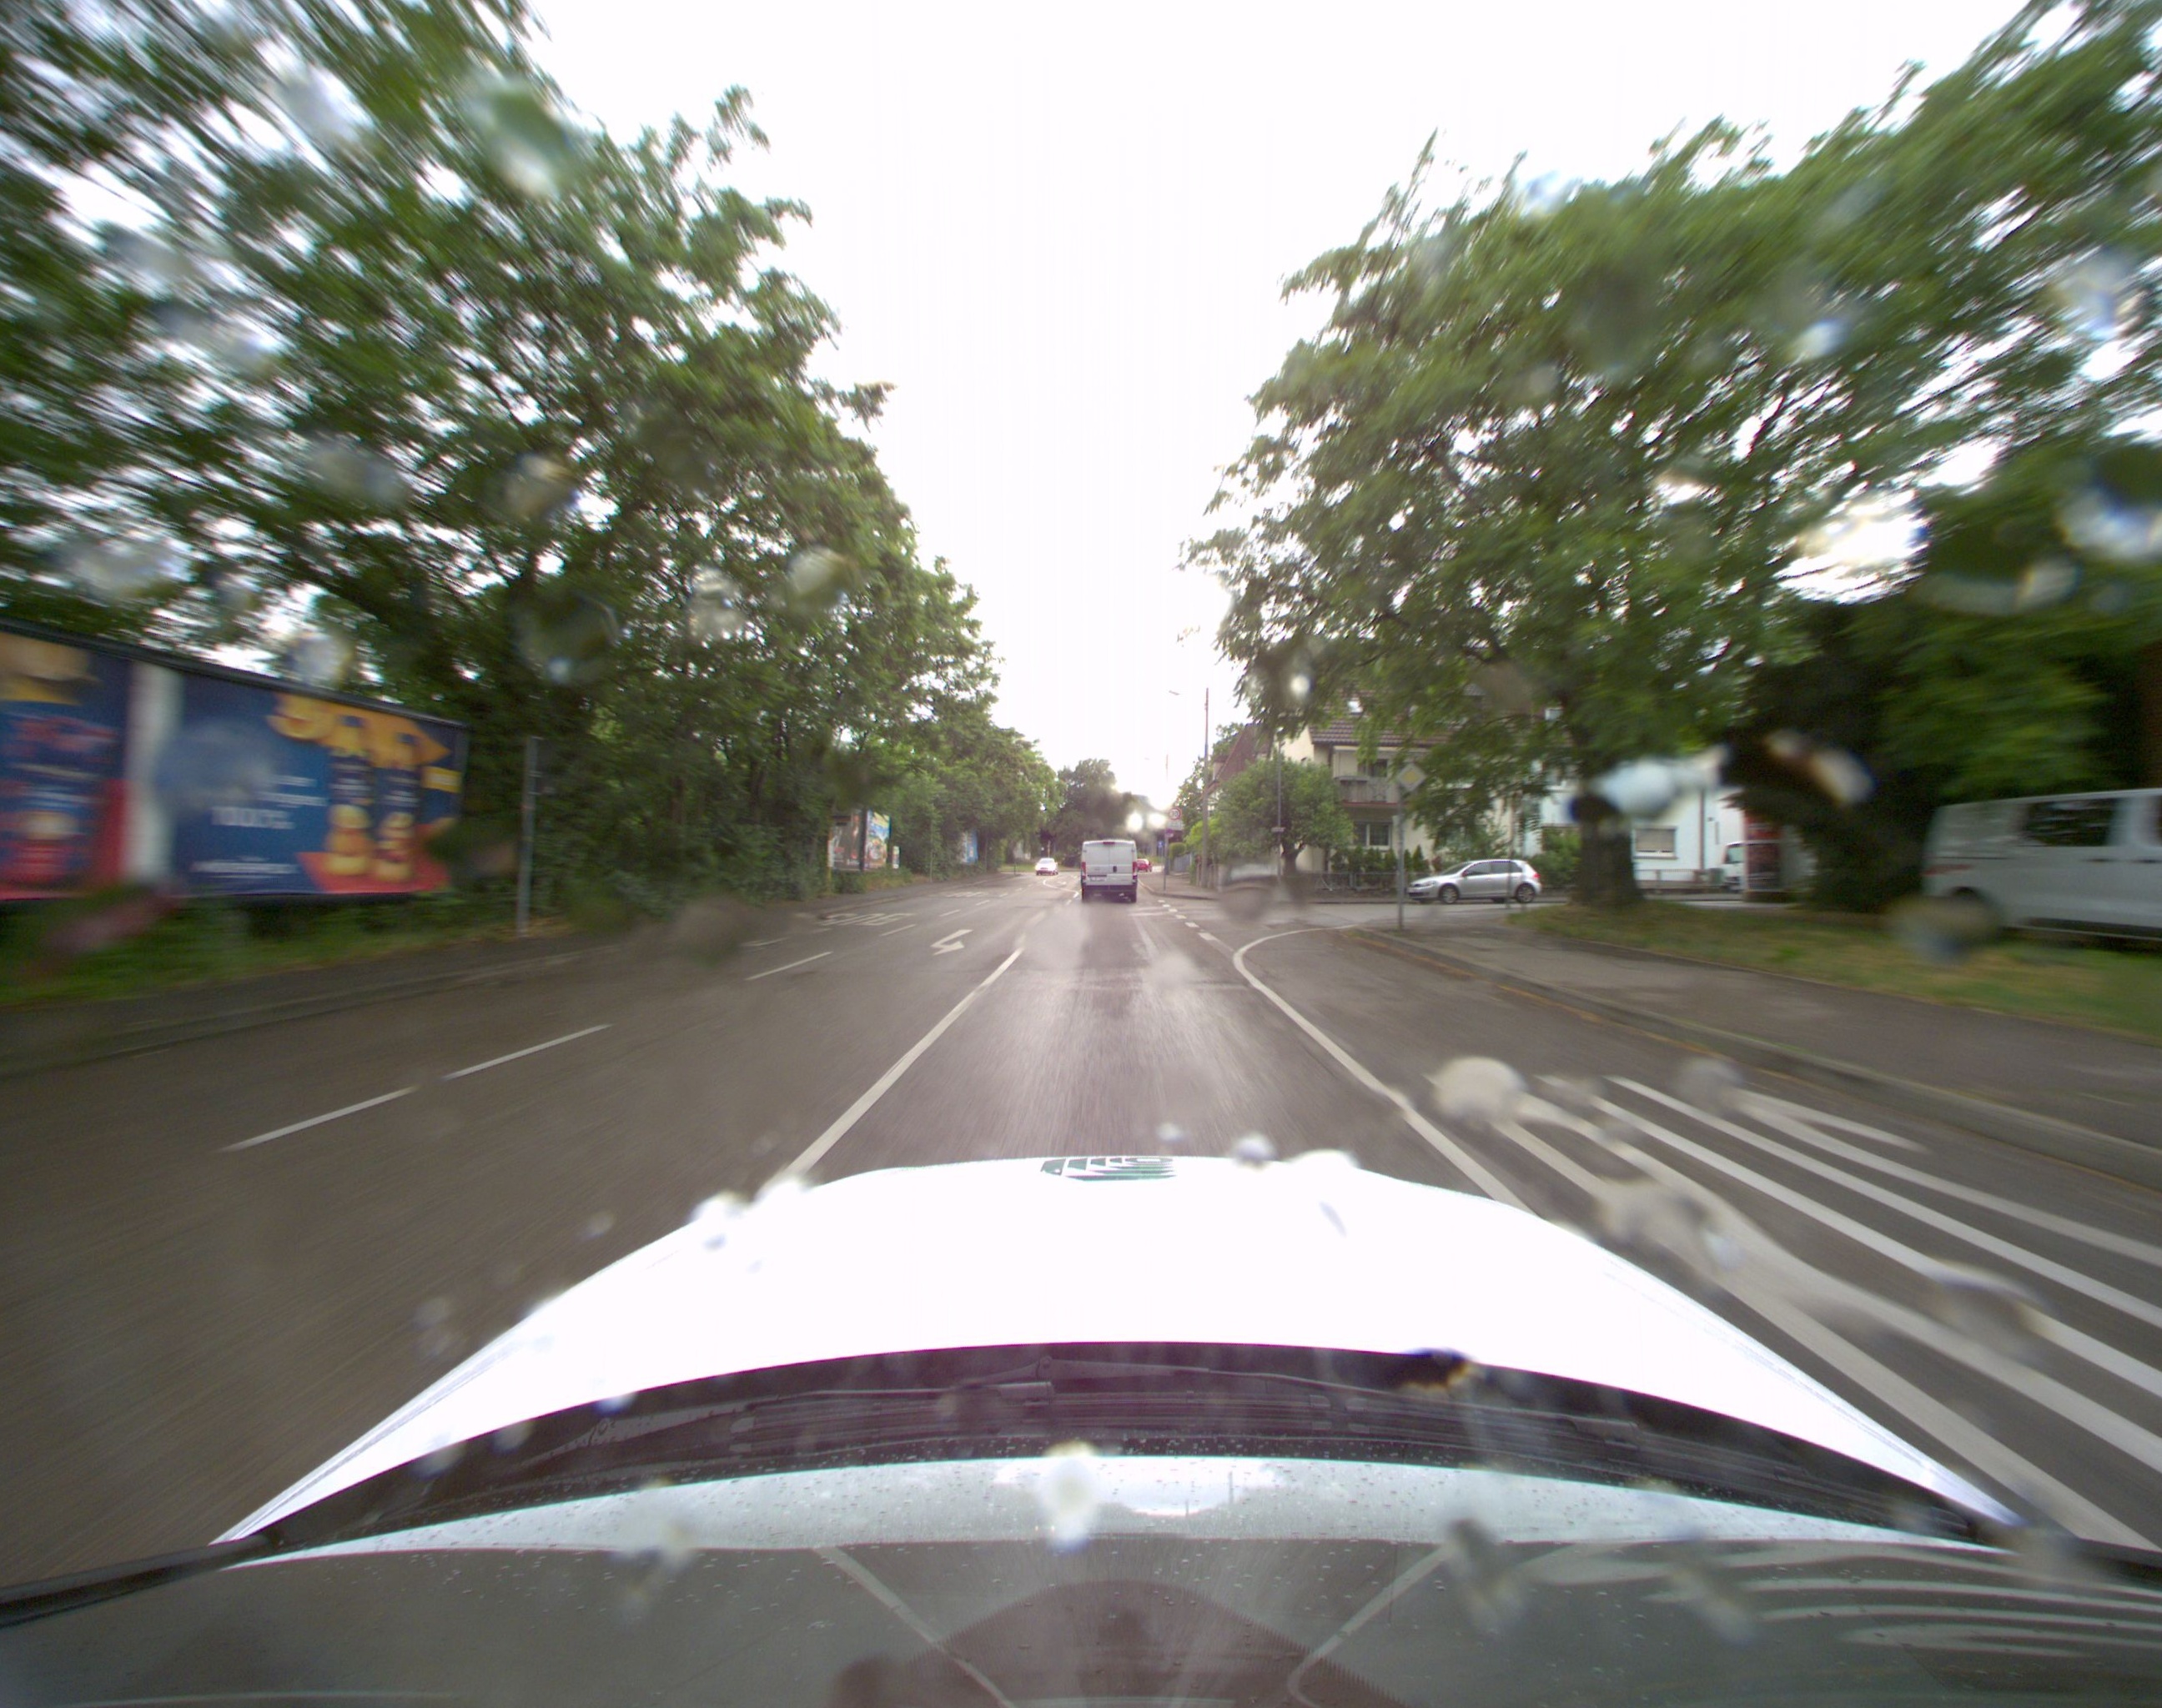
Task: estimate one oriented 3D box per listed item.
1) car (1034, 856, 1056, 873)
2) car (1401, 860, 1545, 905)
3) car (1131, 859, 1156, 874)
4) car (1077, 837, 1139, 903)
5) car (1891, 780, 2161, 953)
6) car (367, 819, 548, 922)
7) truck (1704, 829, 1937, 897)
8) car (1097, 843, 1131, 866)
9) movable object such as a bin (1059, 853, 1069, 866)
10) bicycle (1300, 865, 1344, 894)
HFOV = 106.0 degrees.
[{"bbox_3d":[-3.153,0.922,72.080,1.648,1.417,3.937,-1,0,1],"label":"car"},{"bbox_3d":[12.946,0.934,27.071,3.975,1.423,1.703,0,-2,-1],"label":"car"},{"bbox_3d":[6.915,1.351,89.841,1.750,1.511,3.774,2,0,21],"label":"car"},{"bbox_3d":[1.069,0.604,31.318,2.138,2.283,5.065,1,-1,2],"label":"car"},{"bbox_3d":[12.245,0.173,8.882,1.984,1.805,5.154,2,0,5],"label":"car"},{"bbox_3d":[-13.550,0.290,17.651,3.949,1.937,2.012,2,0,36],"label":"car"},{"bbox_3d":[24.629,0.360,27.306,5.806,2.061,2.000,-1,-4,2],"label":"truck"},{"bbox_3d":[4.678,0.100,113.844,2.512,3.018,7.247,2,0,21],"label":"car"},{"bbox_3d":[-2.175,0.695,103.307,0.935,1.564,1.132,7,0,6],"label":"movable object such as a bin"},{"bbox_3d":[9.167,0.970,30.989,1.563,1.115,0.458,0,-1,5],"label":"bicycle"}]
